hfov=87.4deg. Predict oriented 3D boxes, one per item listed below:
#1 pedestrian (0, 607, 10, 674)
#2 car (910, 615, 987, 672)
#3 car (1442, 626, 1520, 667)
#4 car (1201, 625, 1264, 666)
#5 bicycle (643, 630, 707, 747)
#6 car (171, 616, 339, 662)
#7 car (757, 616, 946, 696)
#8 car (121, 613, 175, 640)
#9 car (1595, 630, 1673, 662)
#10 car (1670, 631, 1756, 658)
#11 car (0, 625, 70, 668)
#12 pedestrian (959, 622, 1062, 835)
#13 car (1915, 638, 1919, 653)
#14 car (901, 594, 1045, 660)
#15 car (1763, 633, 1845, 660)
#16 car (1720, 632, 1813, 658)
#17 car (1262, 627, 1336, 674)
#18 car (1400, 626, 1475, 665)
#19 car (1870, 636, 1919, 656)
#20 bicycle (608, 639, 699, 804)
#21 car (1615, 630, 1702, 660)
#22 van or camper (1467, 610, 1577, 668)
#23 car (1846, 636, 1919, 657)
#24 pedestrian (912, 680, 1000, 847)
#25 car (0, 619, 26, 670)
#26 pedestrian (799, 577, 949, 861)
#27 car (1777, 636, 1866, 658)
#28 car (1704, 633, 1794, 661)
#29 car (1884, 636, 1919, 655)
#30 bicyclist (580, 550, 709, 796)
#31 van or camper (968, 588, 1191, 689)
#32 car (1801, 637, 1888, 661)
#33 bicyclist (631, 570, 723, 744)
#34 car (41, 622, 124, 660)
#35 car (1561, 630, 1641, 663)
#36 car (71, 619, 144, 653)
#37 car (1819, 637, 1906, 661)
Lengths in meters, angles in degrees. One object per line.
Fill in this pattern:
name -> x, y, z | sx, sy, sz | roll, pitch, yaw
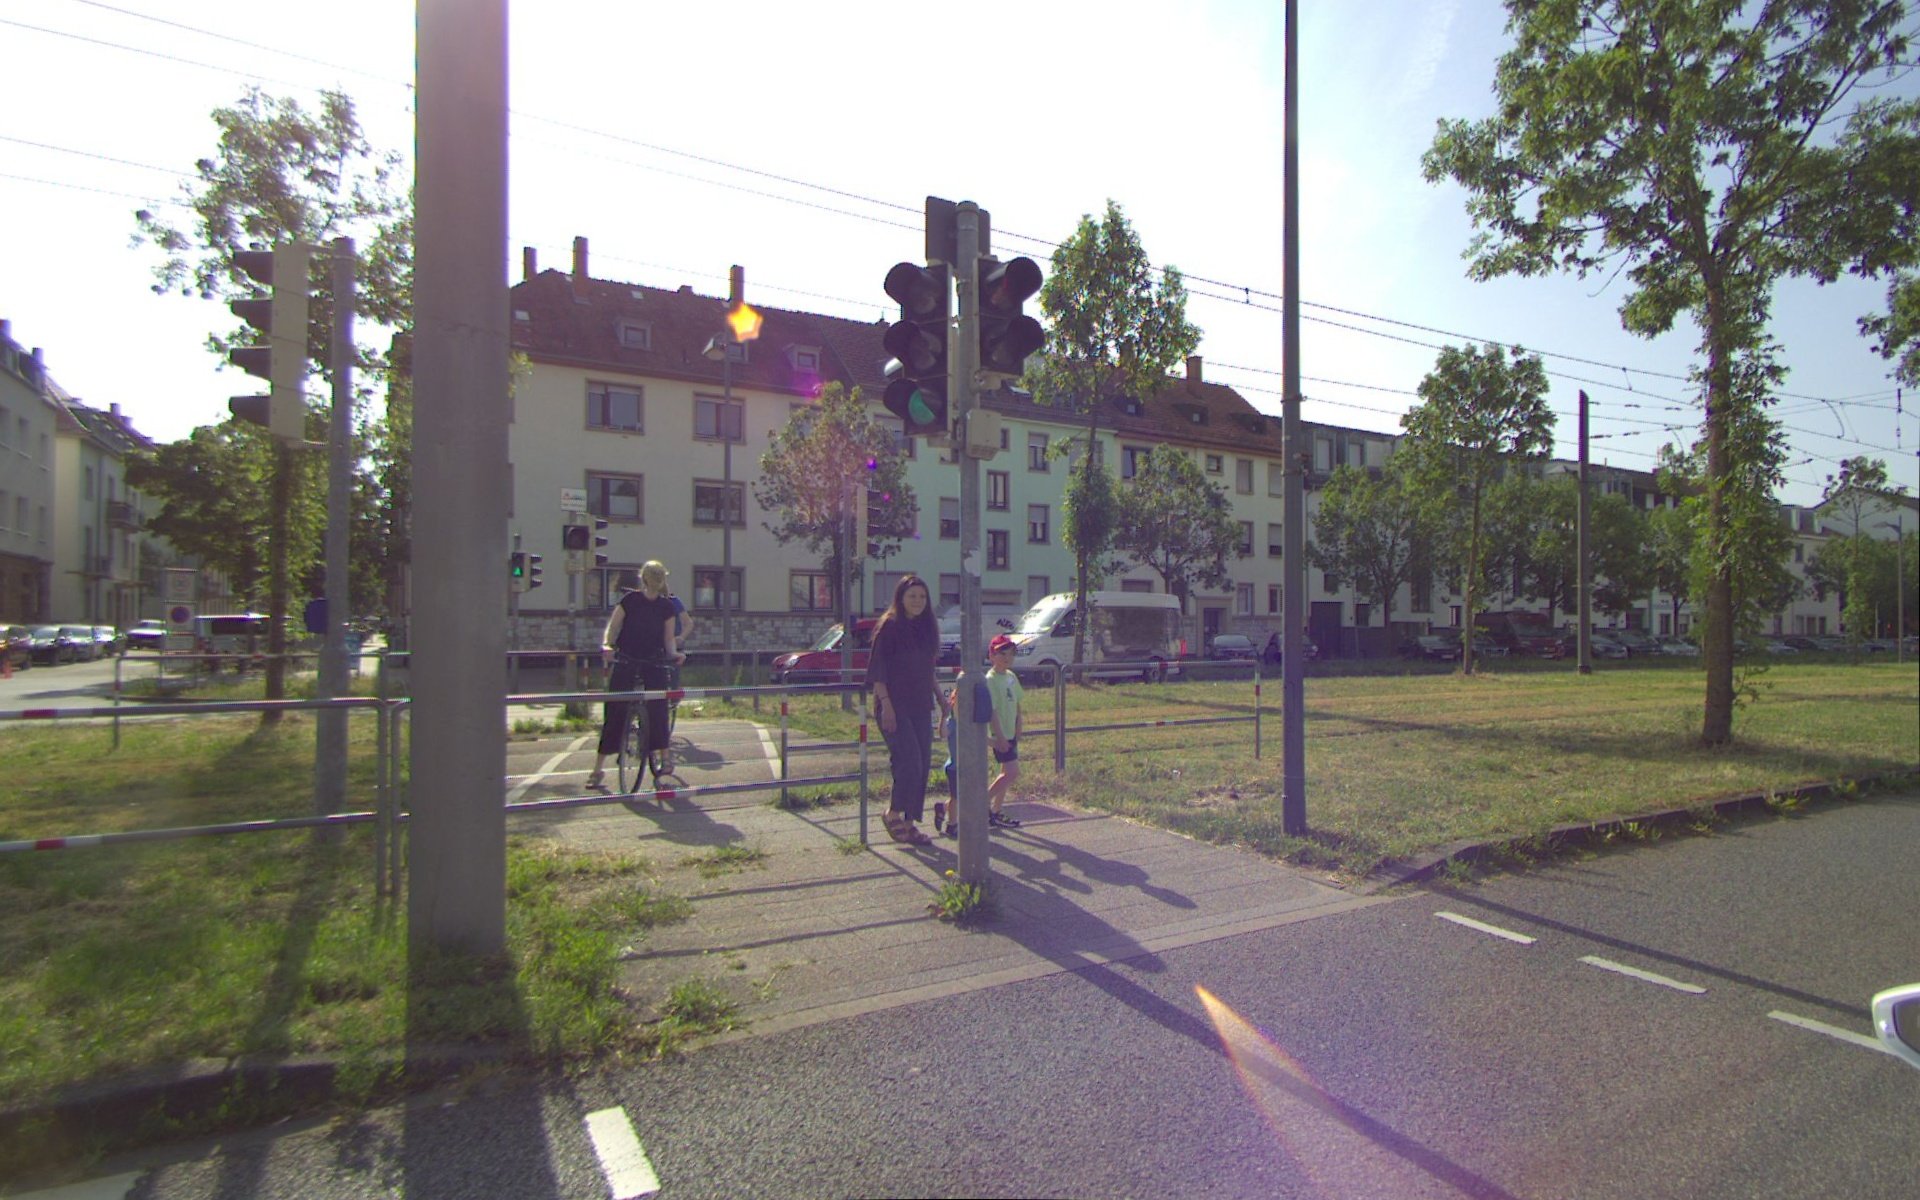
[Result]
pedestrian -> -25.746, 1.066, 26.624 | 0.625, 1.771, 0.665 | 2, 0, -30
car -> -0.284, 1.268, 30.937 | 1.776, 1.550, 4.101 | 2, 0, 7
car -> 24.009, 2.124, 46.475 | 1.831, 1.637, 4.156 | 4, 0, 8
car -> 10.173, 1.678, 37.761 | 1.737, 1.360, 3.779 | 2, 0, 7
bicycle -> -3.201, 0.959, 11.391 | 0.567, 1.161, 1.789 | 2, 0, -12
car -> -23.978, 1.300, 34.352 | 1.579, 1.490, 4.491 | -1, -2, 28
car -> -2.562, 1.334, 23.904 | 4.111, 1.760, 1.808 | 2, -3, -30
car -> -45.521, 1.462, 56.377 | 1.714, 1.395, 3.719 | 2, 0, -29
car -> 34.487, 2.344, 51.531 | 1.609, 1.453, 3.723 | 1, 0, 3
car -> 43.207, 2.531, 57.742 | 1.800, 1.394, 3.998 | 2, 0, -3
car -> -32.935, 1.609, 35.177 | 1.713, 1.302, 3.869 | 2, 0, -28
pedestrian -> 0.345, 0.841, 6.839 | 0.542, 1.376, 0.453 | 1, -1, -33
car -> 76.236, 3.583, 77.408 | 1.959, 1.194, 4.002 | 2, 0, 11
car -> 0.545, 1.111, 40.254 | 5.511, 2.496, 1.984 | 2, 0, -30
car -> 51.176, 2.810, 60.977 | 1.633, 1.394, 3.778 | 2, 0, -4
car -> 48.633, 2.692, 60.702 | 1.962, 1.394, 4.337 | 2, 0, -4
car -> 12.961, 1.879, 38.672 | 1.959, 1.550, 4.353 | 2, 0, 9
car -> 21.813, 2.055, 46.058 | 1.831, 1.529, 4.156 | 4, 0, 8
car -> 67.835, 3.305, 71.873 | 1.838, 1.275, 4.001 | 2, 0, 3
bicycle -> -2.458, 0.914, 8.189 | 0.567, 1.161, 1.748 | 0, -1, -12
car -> 37.170, 2.368, 53.613 | 1.699, 1.338, 4.401 | 1, 0, 3
van or camper -> 26.658, 1.814, 47.945 | 2.365, 2.580, 6.166 | 1, -1, 6
car -> 64.716, 3.224, 70.492 | 1.665, 1.251, 4.001 | 2, 0, 3
pedestrian -> -0.027, 1.029, 6.481 | 0.416, 0.994, 0.409 | 1, -1, -33
car -> -30.052, 1.349, 30.100 | 1.975, 1.483, 3.971 | 2, 0, -28
pedestrian -> -0.537, 0.692, 6.204 | 0.727, 1.624, 0.606 | 1, -1, -33
car -> 54.056, 2.925, 63.129 | 1.962, 1.305, 3.998 | 0, -1, -5
car -> 45.491, 2.702, 58.033 | 1.890, 1.394, 3.998 | 2, 0, -3
car -> 70.345, 3.352, 73.431 | 1.849, 1.286, 4.000 | 2, 0, 0
bicyclist -> -2.504, 0.562, 8.094 | 0.892, 1.846, 0.869 | 0, -1, -12
van or camper -> 3.317, 1.089, 27.313 | 5.990, 2.506, 2.131 | 2, -3, -31
car -> 57.152, 3.144, 65.021 | 1.962, 1.305, 3.997 | 2, 0, -4
bicyclist -> -3.204, 0.622, 11.496 | 0.895, 1.875, 1.185 | 2, 0, -12
car -> -36.255, 1.671, 41.609 | 1.713, 1.395, 3.721 | 2, 0, -28
car -> 32.328, 2.326, 50.775 | 1.746, 1.439, 4.002 | 2, 0, 5
car -> -38.765, 1.615, 45.765 | 1.713, 1.395, 3.721 | 2, 0, -28
car -> 59.614, 3.218, 66.439 | 1.961, 1.305, 4.058 | 2, 0, -3
